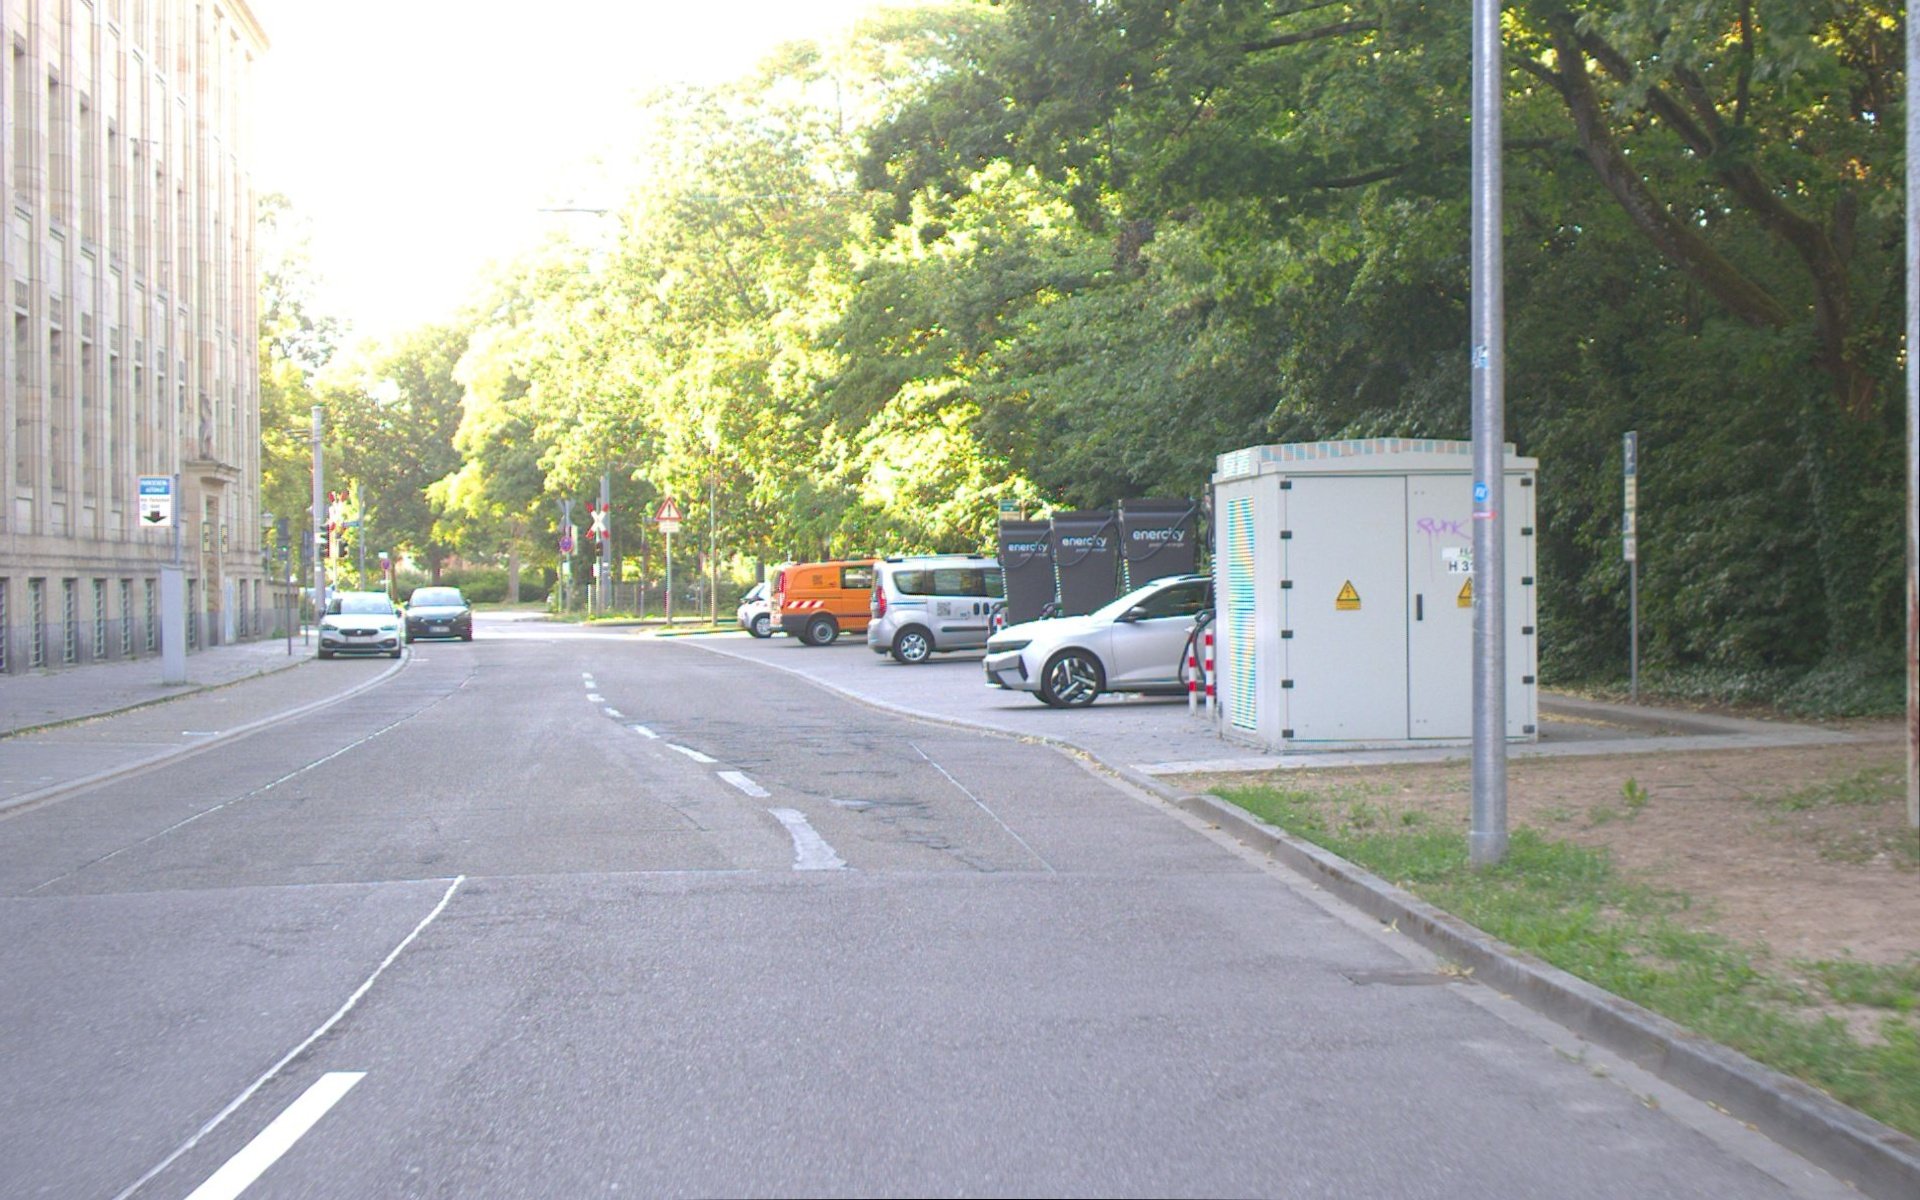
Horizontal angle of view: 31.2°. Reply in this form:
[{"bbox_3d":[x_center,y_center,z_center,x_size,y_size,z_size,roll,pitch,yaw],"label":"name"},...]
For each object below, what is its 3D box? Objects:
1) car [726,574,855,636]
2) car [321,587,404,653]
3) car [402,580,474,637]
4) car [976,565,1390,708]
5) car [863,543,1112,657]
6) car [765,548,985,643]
[{"bbox_3d":[-4.491,0.131,90.903,3.143,1.498,1.541,-3,1,-12],"label":"car"},{"bbox_3d":[-13.200,0.418,76.128,1.727,1.392,4.374,0,0,-9],"label":"car"},{"bbox_3d":[-14.173,0.205,93.323,1.878,1.461,4.374,0,1,-9],"label":"car"},{"bbox_3d":[2.508,0.394,39.305,4.440,1.464,1.783,-2,0,-6],"label":"car"},{"bbox_3d":[0.463,0.006,61.439,4.228,1.853,2.000,-2,0,-5],"label":"car"},{"bbox_3d":[-2.004,-0.118,80.606,4.817,2.007,1.802,-3,1,-12],"label":"car"}]
